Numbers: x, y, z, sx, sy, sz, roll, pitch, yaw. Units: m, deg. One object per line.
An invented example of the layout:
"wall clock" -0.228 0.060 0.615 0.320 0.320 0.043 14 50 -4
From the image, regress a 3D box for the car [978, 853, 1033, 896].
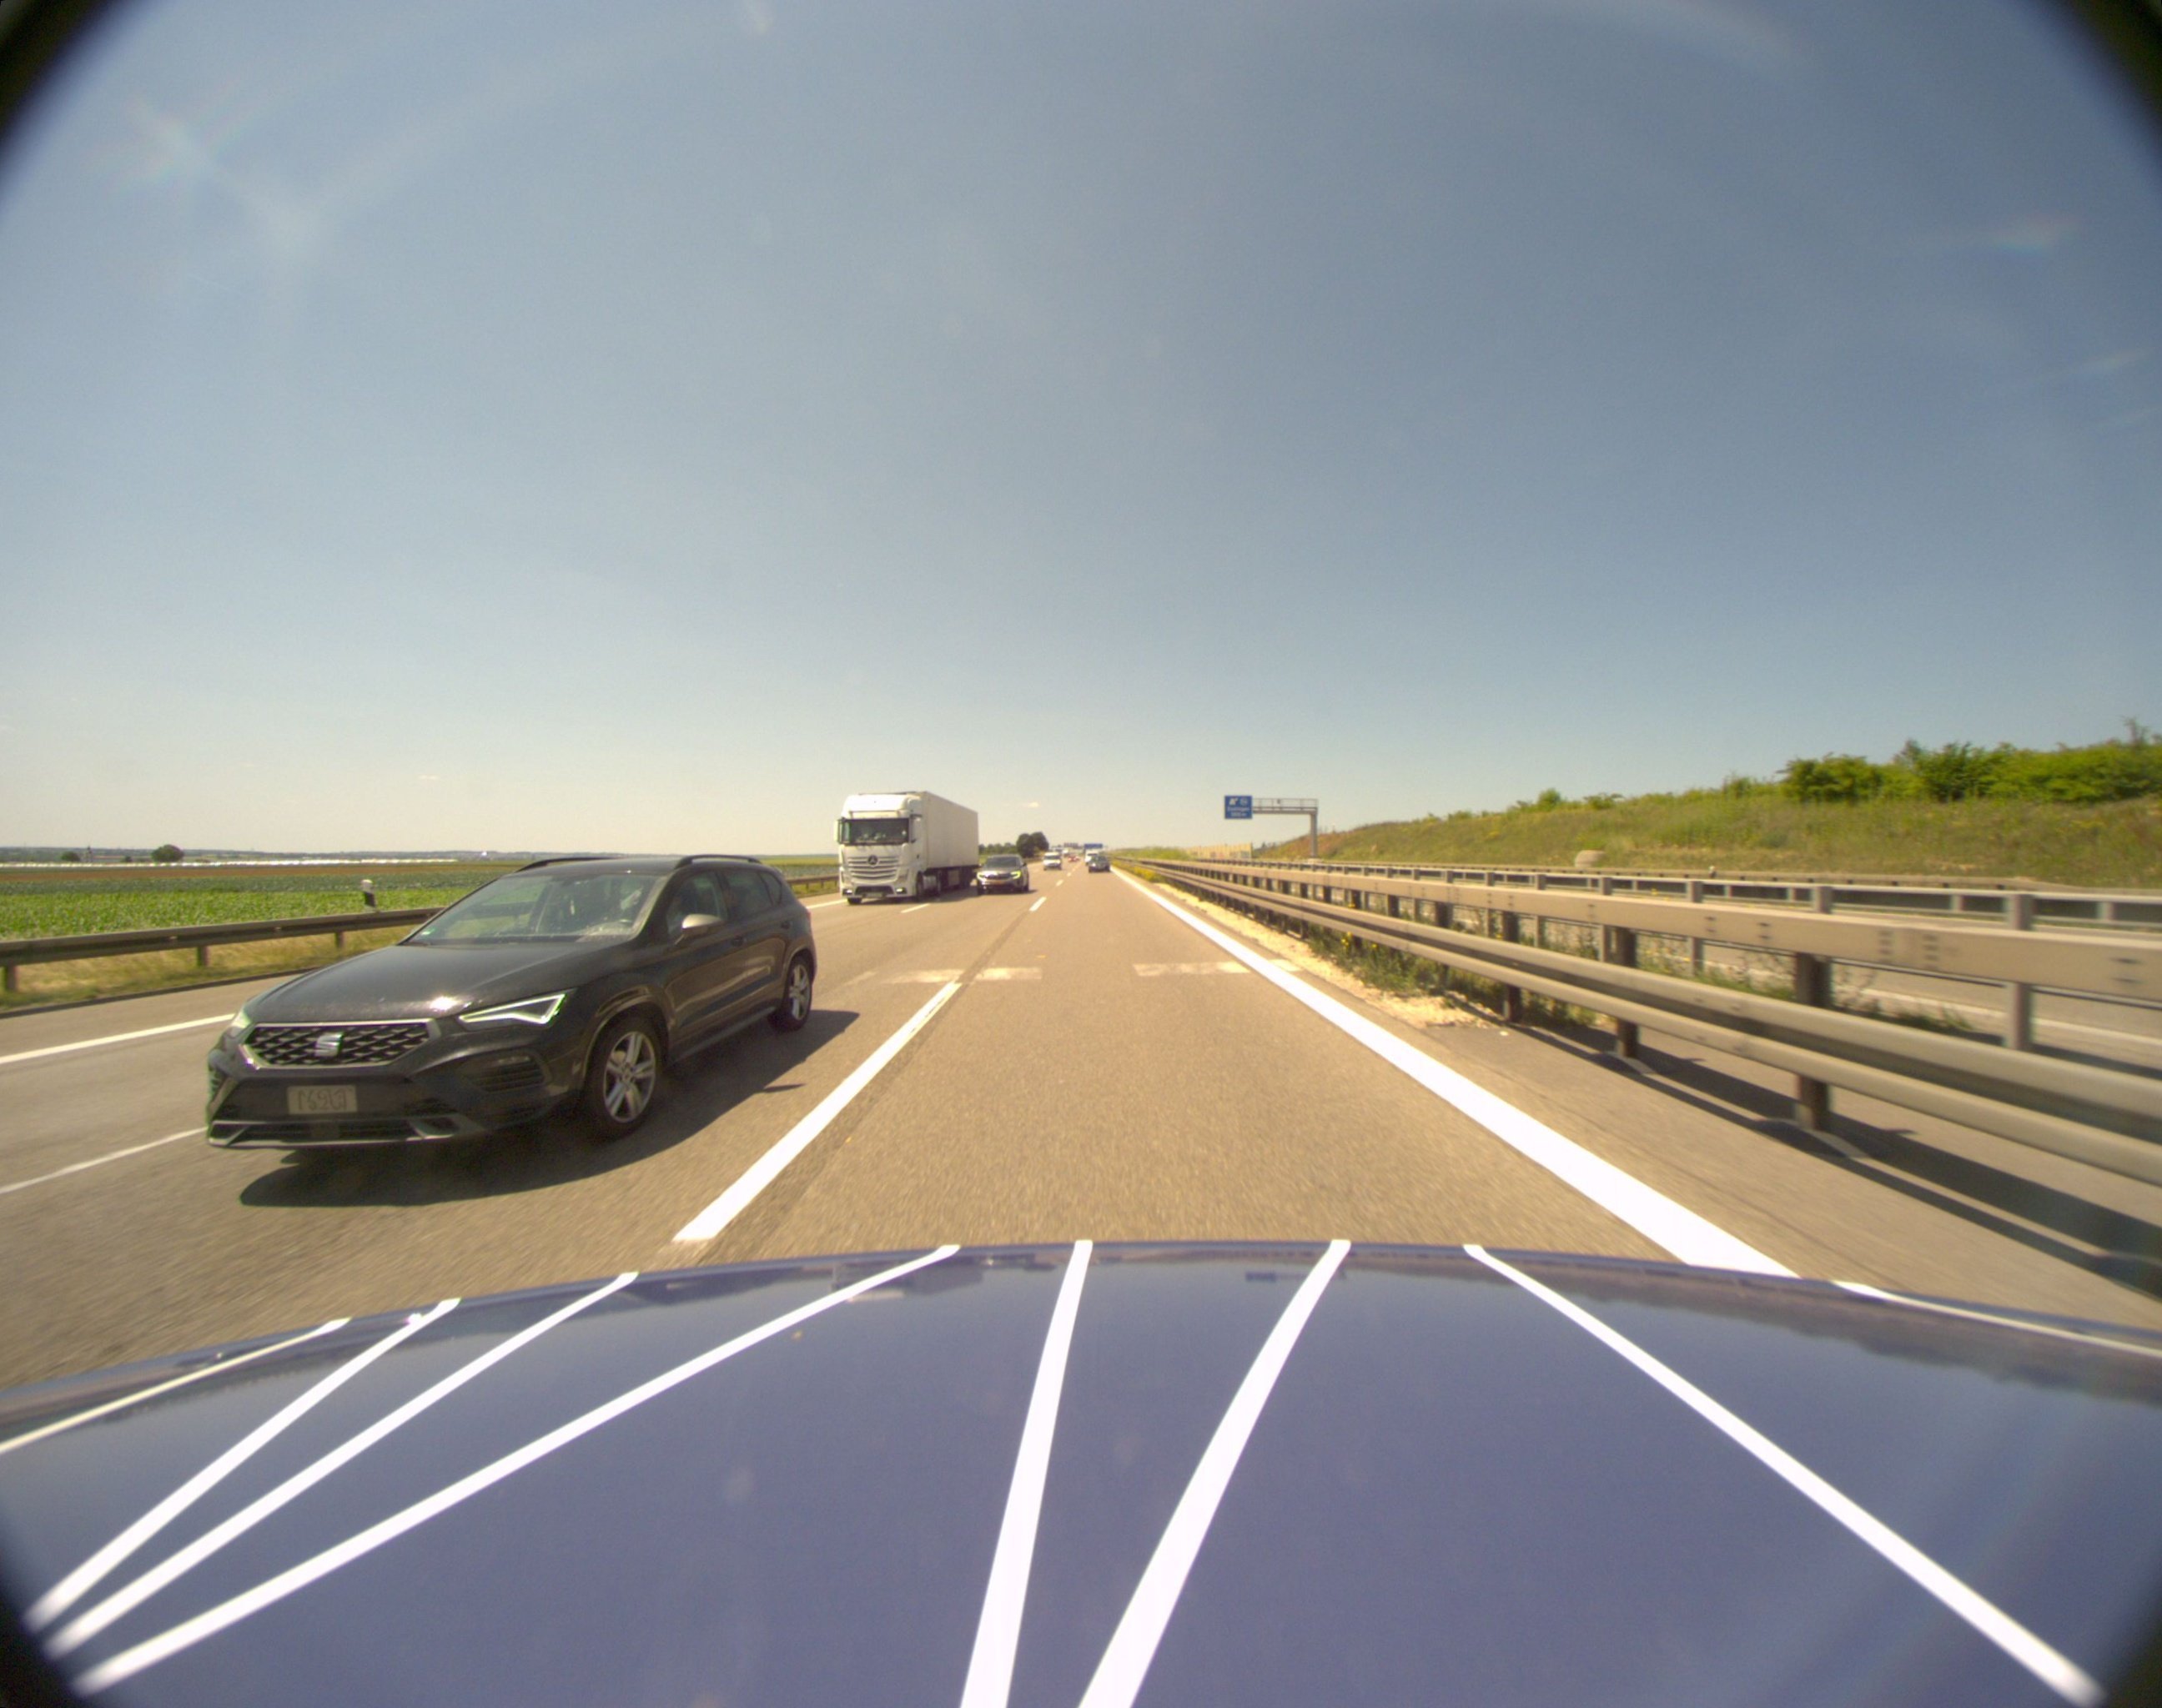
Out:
"car" -3.113 0.818 32.155 1.856 1.639 4.644 -1 0 0

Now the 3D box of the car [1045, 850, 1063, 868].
"car" -2.865 0.520 80.028 1.812 1.836 5.311 -1 0 -2

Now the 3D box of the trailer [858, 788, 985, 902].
"trailer" -6.871 -0.399 35.347 2.875 4.195 13.293 -2 1 0

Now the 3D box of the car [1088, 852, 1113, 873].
"car" 1.511 0.639 60.463 1.715 1.586 4.546 1 0 -2

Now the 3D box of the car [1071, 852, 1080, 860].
"car" -1.259 0.363 161.697 1.723 1.514 3.582 -2 1 2

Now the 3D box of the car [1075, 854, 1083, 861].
"car" -0.507 0.879 194.169 1.724 1.514 3.581 -2 1 -2

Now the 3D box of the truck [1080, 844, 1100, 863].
"truck" 1.144 -0.108 103.072 2.334 2.378 6.685 -2 1 -2

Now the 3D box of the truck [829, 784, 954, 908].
"truck" -6.906 -0.297 28.798 2.870 4.068 6.878 -2 1 0

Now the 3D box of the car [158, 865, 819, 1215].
"car" -3.510 0.928 5.582 1.801 1.553 3.823 -2 1 0
